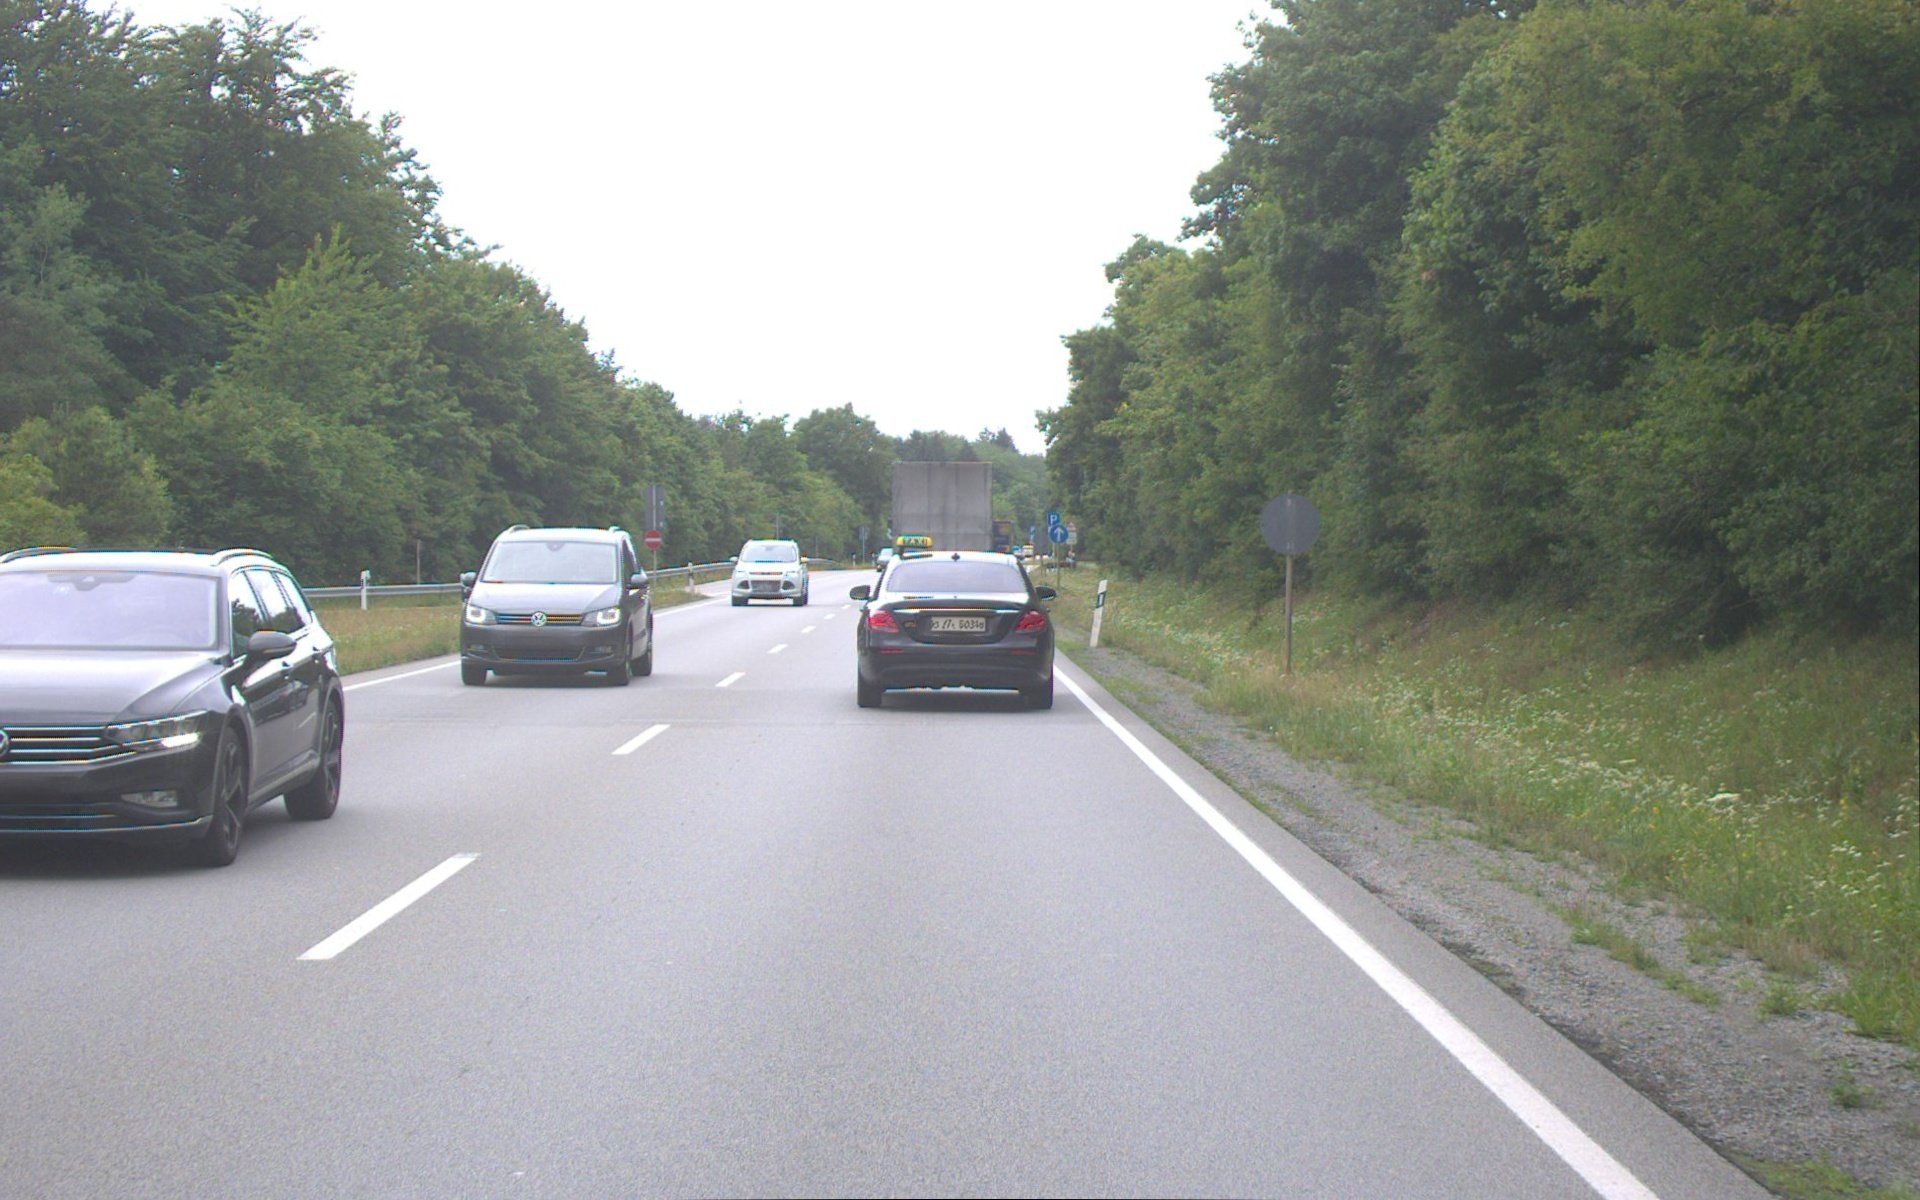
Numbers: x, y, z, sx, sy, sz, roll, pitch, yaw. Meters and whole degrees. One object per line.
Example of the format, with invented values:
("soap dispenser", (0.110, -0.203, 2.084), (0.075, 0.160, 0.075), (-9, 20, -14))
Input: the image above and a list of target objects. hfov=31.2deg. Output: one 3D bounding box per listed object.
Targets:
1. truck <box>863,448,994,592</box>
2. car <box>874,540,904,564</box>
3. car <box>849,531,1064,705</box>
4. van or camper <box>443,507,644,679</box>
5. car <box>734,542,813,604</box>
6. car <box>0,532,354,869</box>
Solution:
("truck", (-0.785, -2.111, 92.878), (3.281, 3.599, 11.400), (1, 1, 0))
("car", (-4.436, -3.018, 215.010), (1.808, 1.437, 4.448), (1, 1, -2))
("car", (-0.095, 0.132, 32.871), (1.791, 1.546, 4.001), (1, 1, -4))
("van or camper", (-4.568, -0.109, 38.223), (1.993, 1.777, 4.423), (1, 1, -4))
("car", (-4.805, -0.713, 89.018), (1.875, 1.554, 3.755), (1, 1, -1))
("car", (-4.278, 0.406, 17.365), (1.688, 1.474, 4.456), (1, 1, -1))
